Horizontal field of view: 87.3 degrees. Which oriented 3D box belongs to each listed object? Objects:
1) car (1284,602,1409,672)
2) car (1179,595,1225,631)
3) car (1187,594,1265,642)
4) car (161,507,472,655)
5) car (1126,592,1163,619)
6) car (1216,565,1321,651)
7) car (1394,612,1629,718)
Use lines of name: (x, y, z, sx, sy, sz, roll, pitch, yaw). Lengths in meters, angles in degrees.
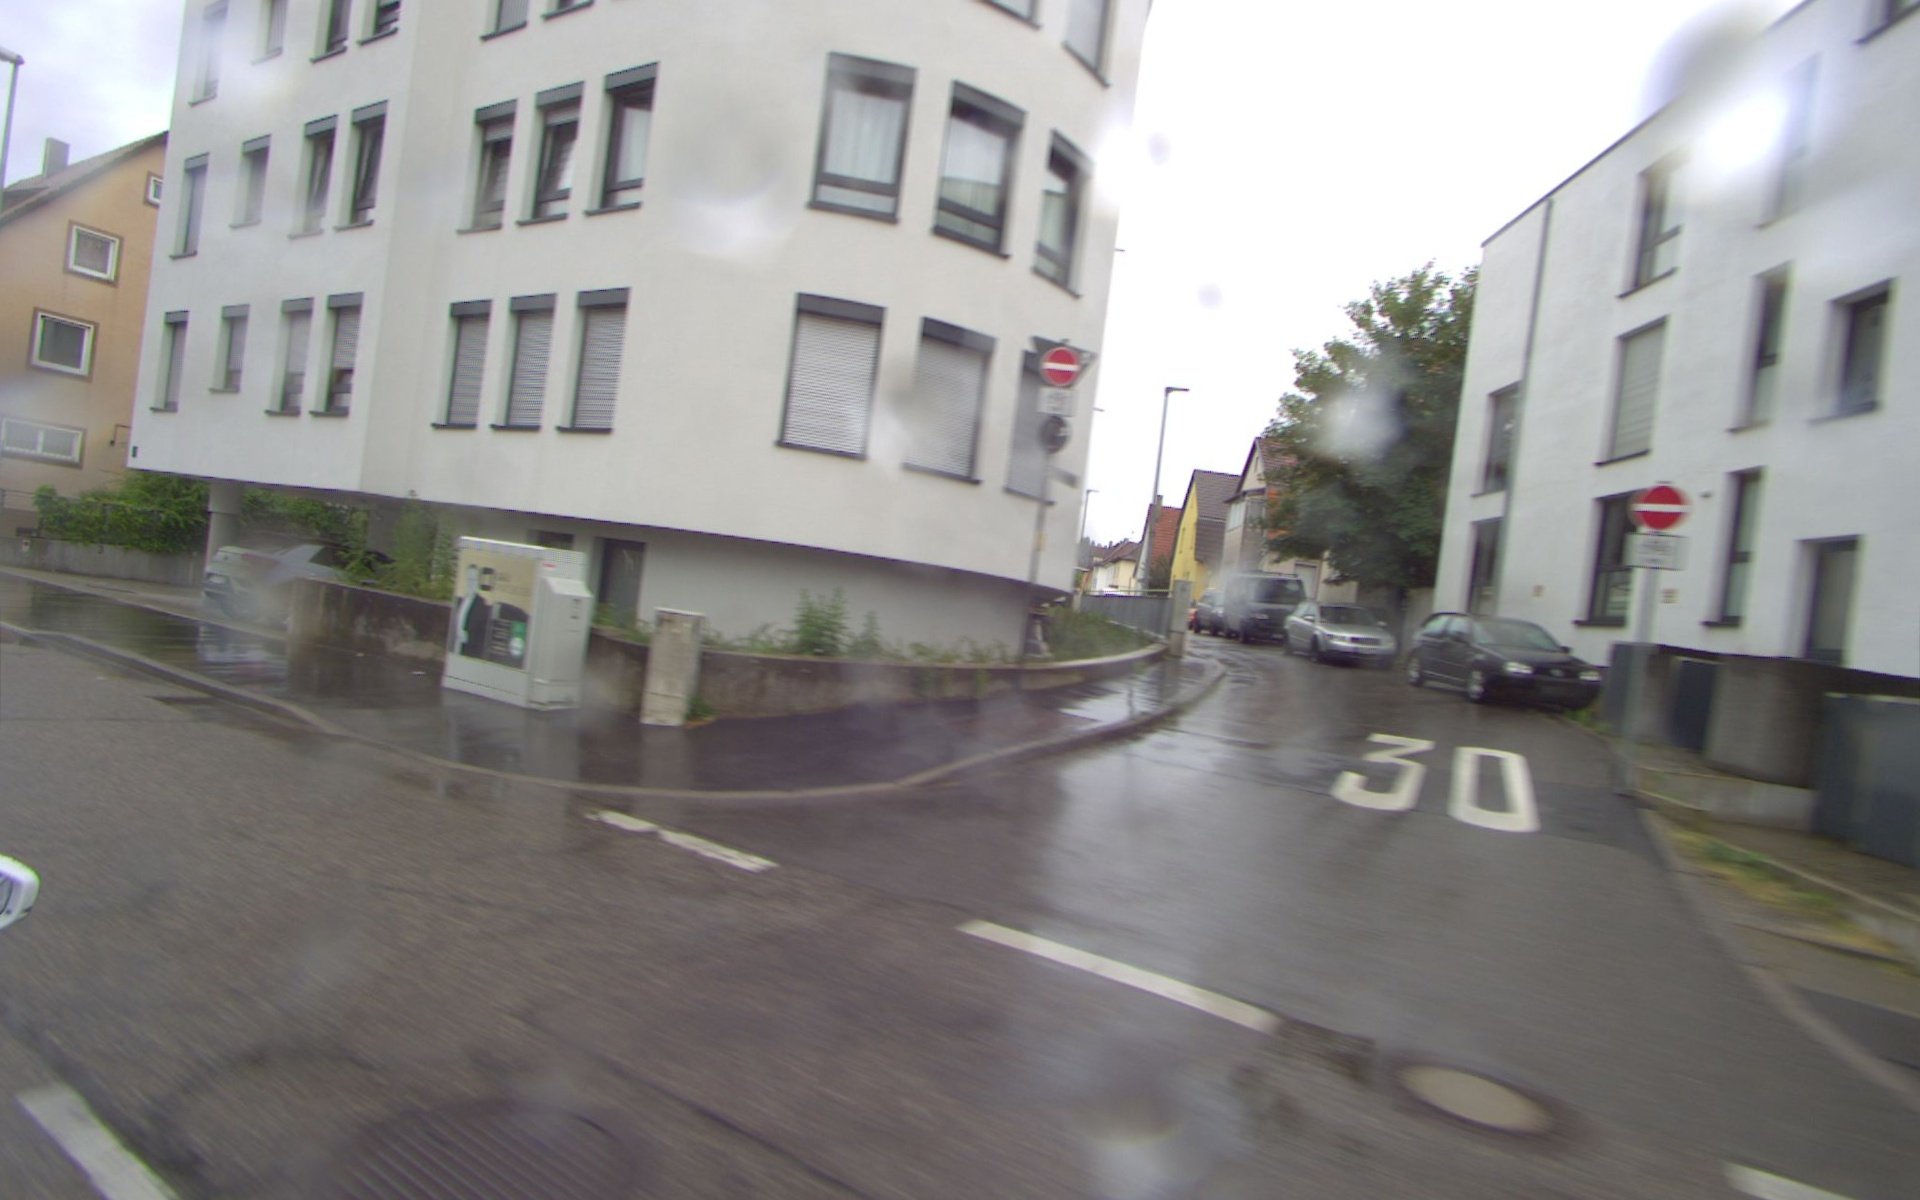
car: (8.988, 0.805, 23.726, 1.715, 1.335, 3.762, 4, 2, 5)
car: (11.260, 0.605, 46.887, 1.537, 1.472, 2.783, 6, -1, 4)
car: (9.449, 0.652, 36.096, 1.724, 1.430, 4.001, 6, -1, 2)
car: (-10.570, -0.238, 16.826, 1.789, 1.544, 3.809, 7, -7, 31)
car: (11.011, 0.375, 60.123, 1.528, 1.430, 3.650, 6, -1, 2)
car: (9.401, 0.272, 30.957, 1.904, 2.222, 3.988, 7, -1, 3)
car: (9.032, 0.992, 16.893, 1.743, 1.335, 3.833, 4, 2, 0)
